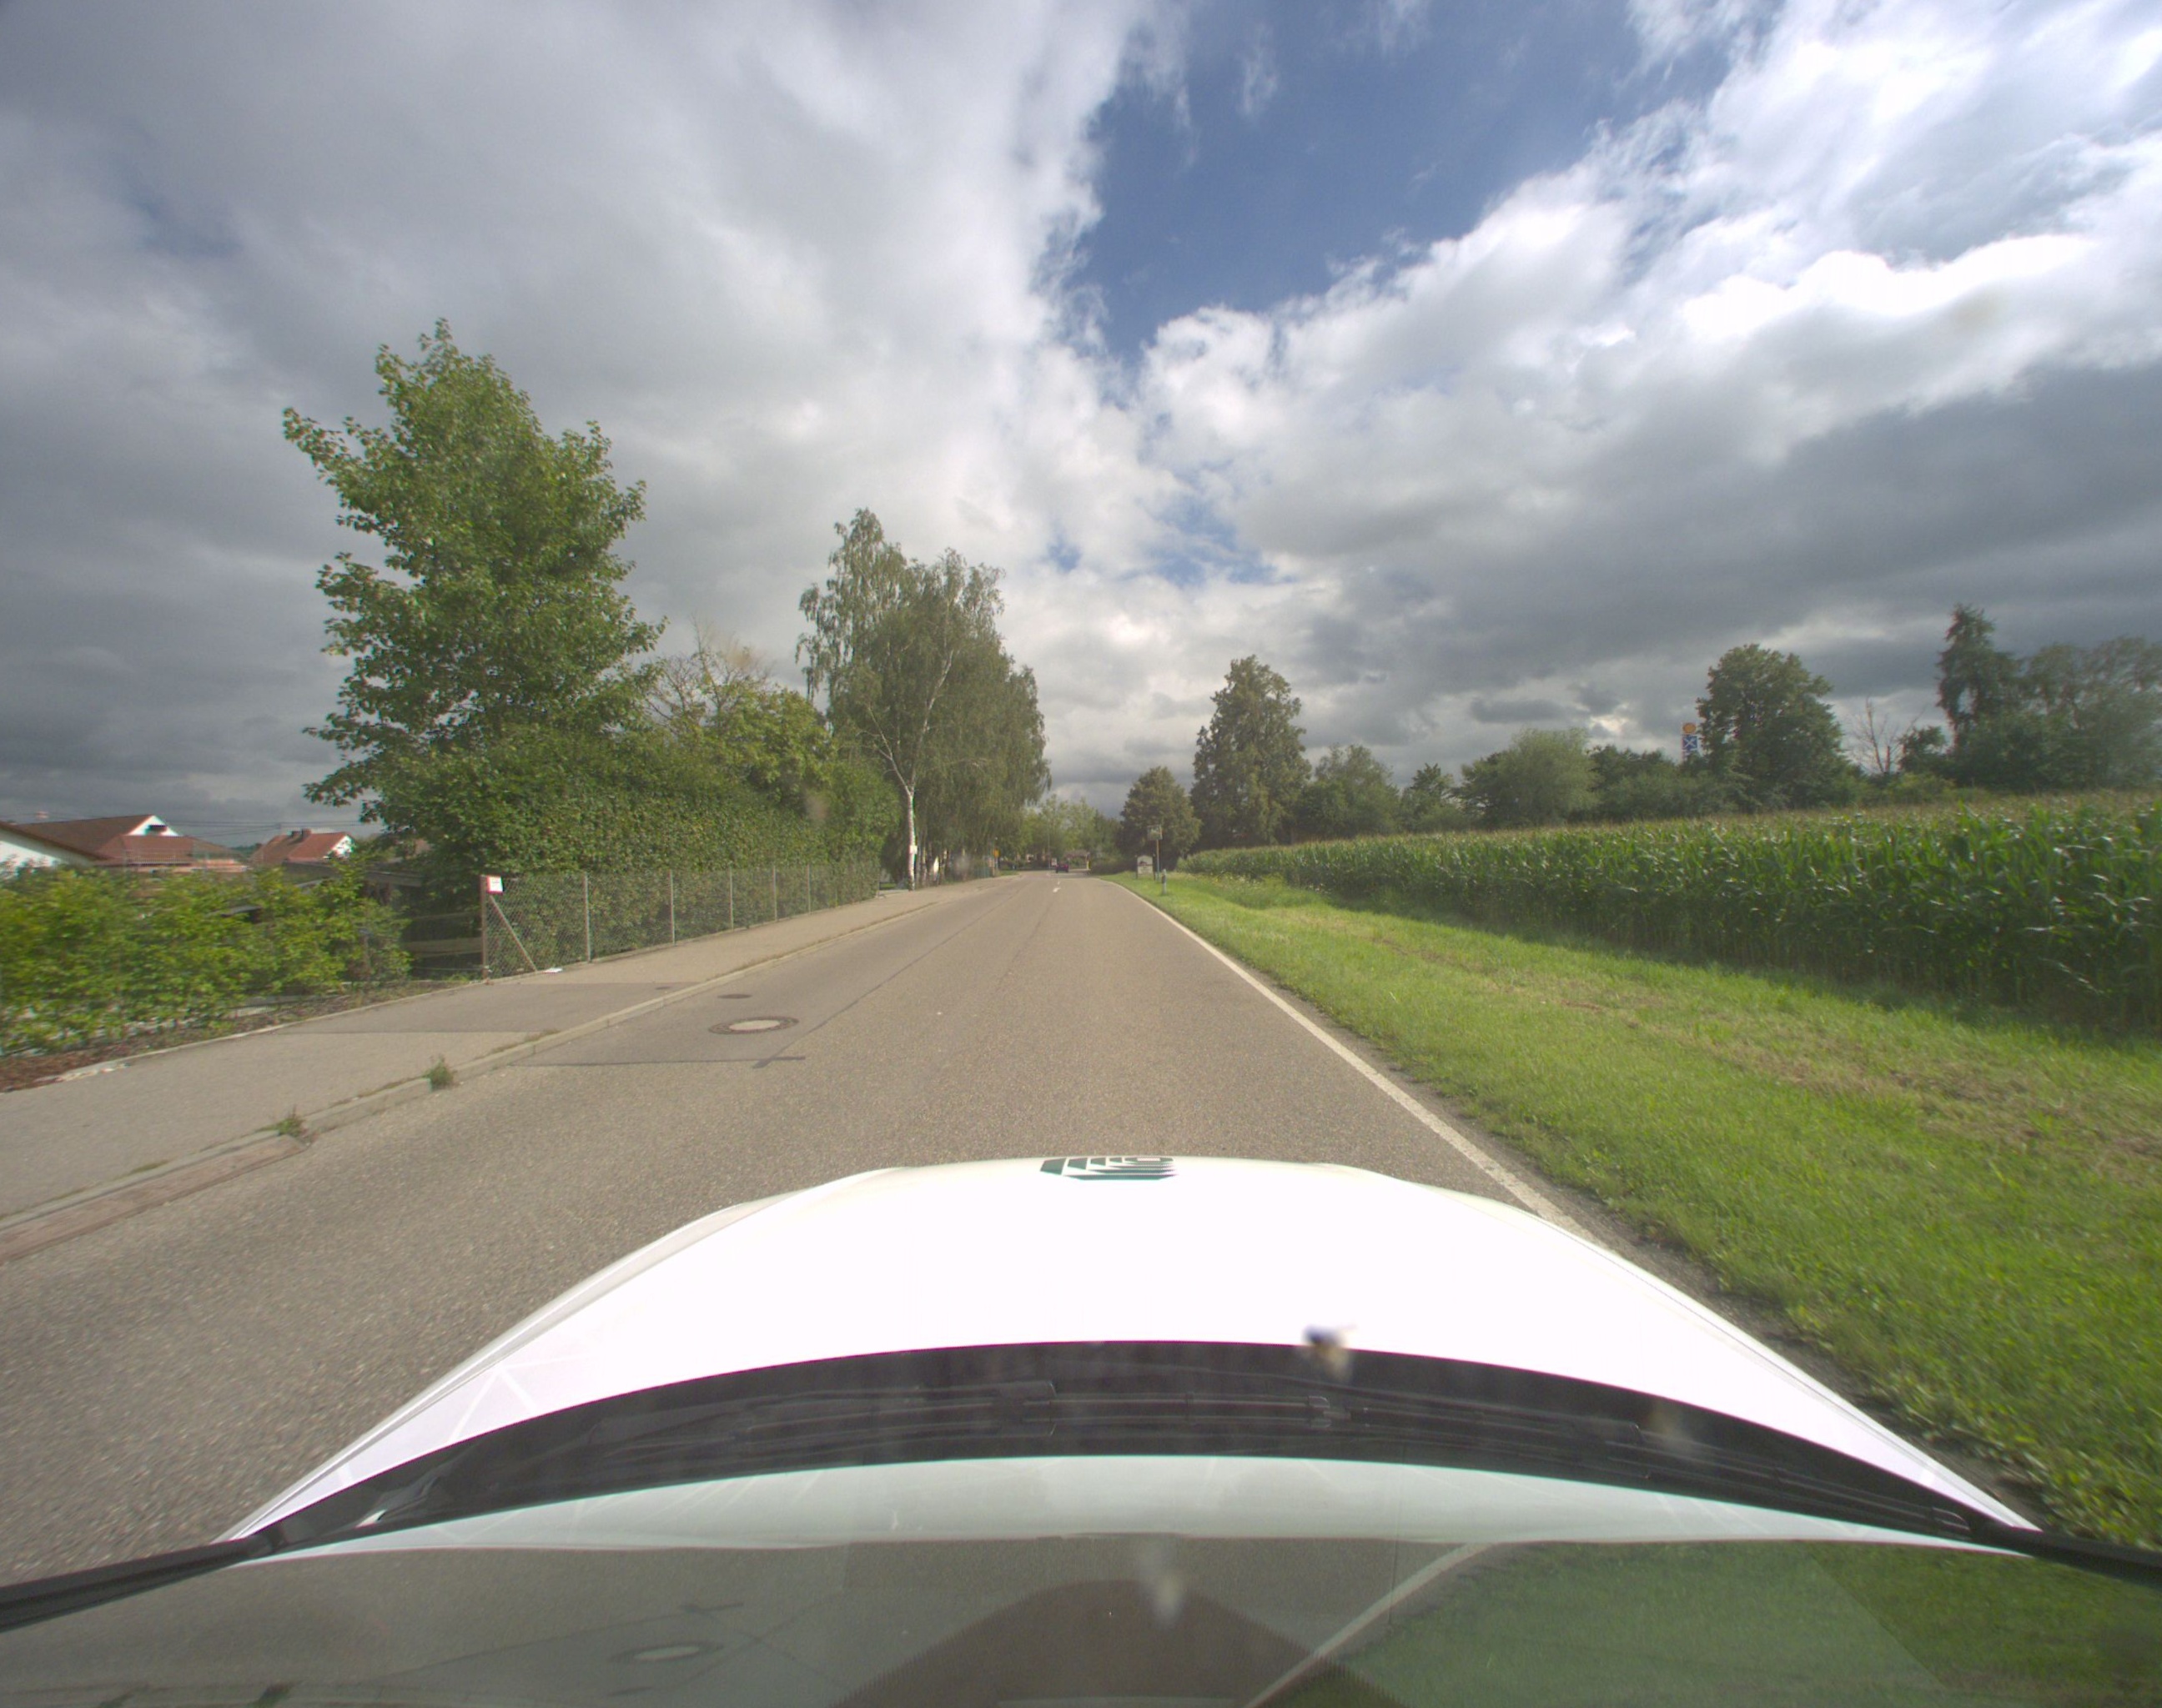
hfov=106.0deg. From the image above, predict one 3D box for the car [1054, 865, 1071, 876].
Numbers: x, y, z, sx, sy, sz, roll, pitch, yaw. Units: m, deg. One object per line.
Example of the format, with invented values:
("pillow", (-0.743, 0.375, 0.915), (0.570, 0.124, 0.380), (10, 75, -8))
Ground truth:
("car", (-2.863, 2.445, 123.419), (1.994, 1.585, 3.986), (-1, 0, -10))
